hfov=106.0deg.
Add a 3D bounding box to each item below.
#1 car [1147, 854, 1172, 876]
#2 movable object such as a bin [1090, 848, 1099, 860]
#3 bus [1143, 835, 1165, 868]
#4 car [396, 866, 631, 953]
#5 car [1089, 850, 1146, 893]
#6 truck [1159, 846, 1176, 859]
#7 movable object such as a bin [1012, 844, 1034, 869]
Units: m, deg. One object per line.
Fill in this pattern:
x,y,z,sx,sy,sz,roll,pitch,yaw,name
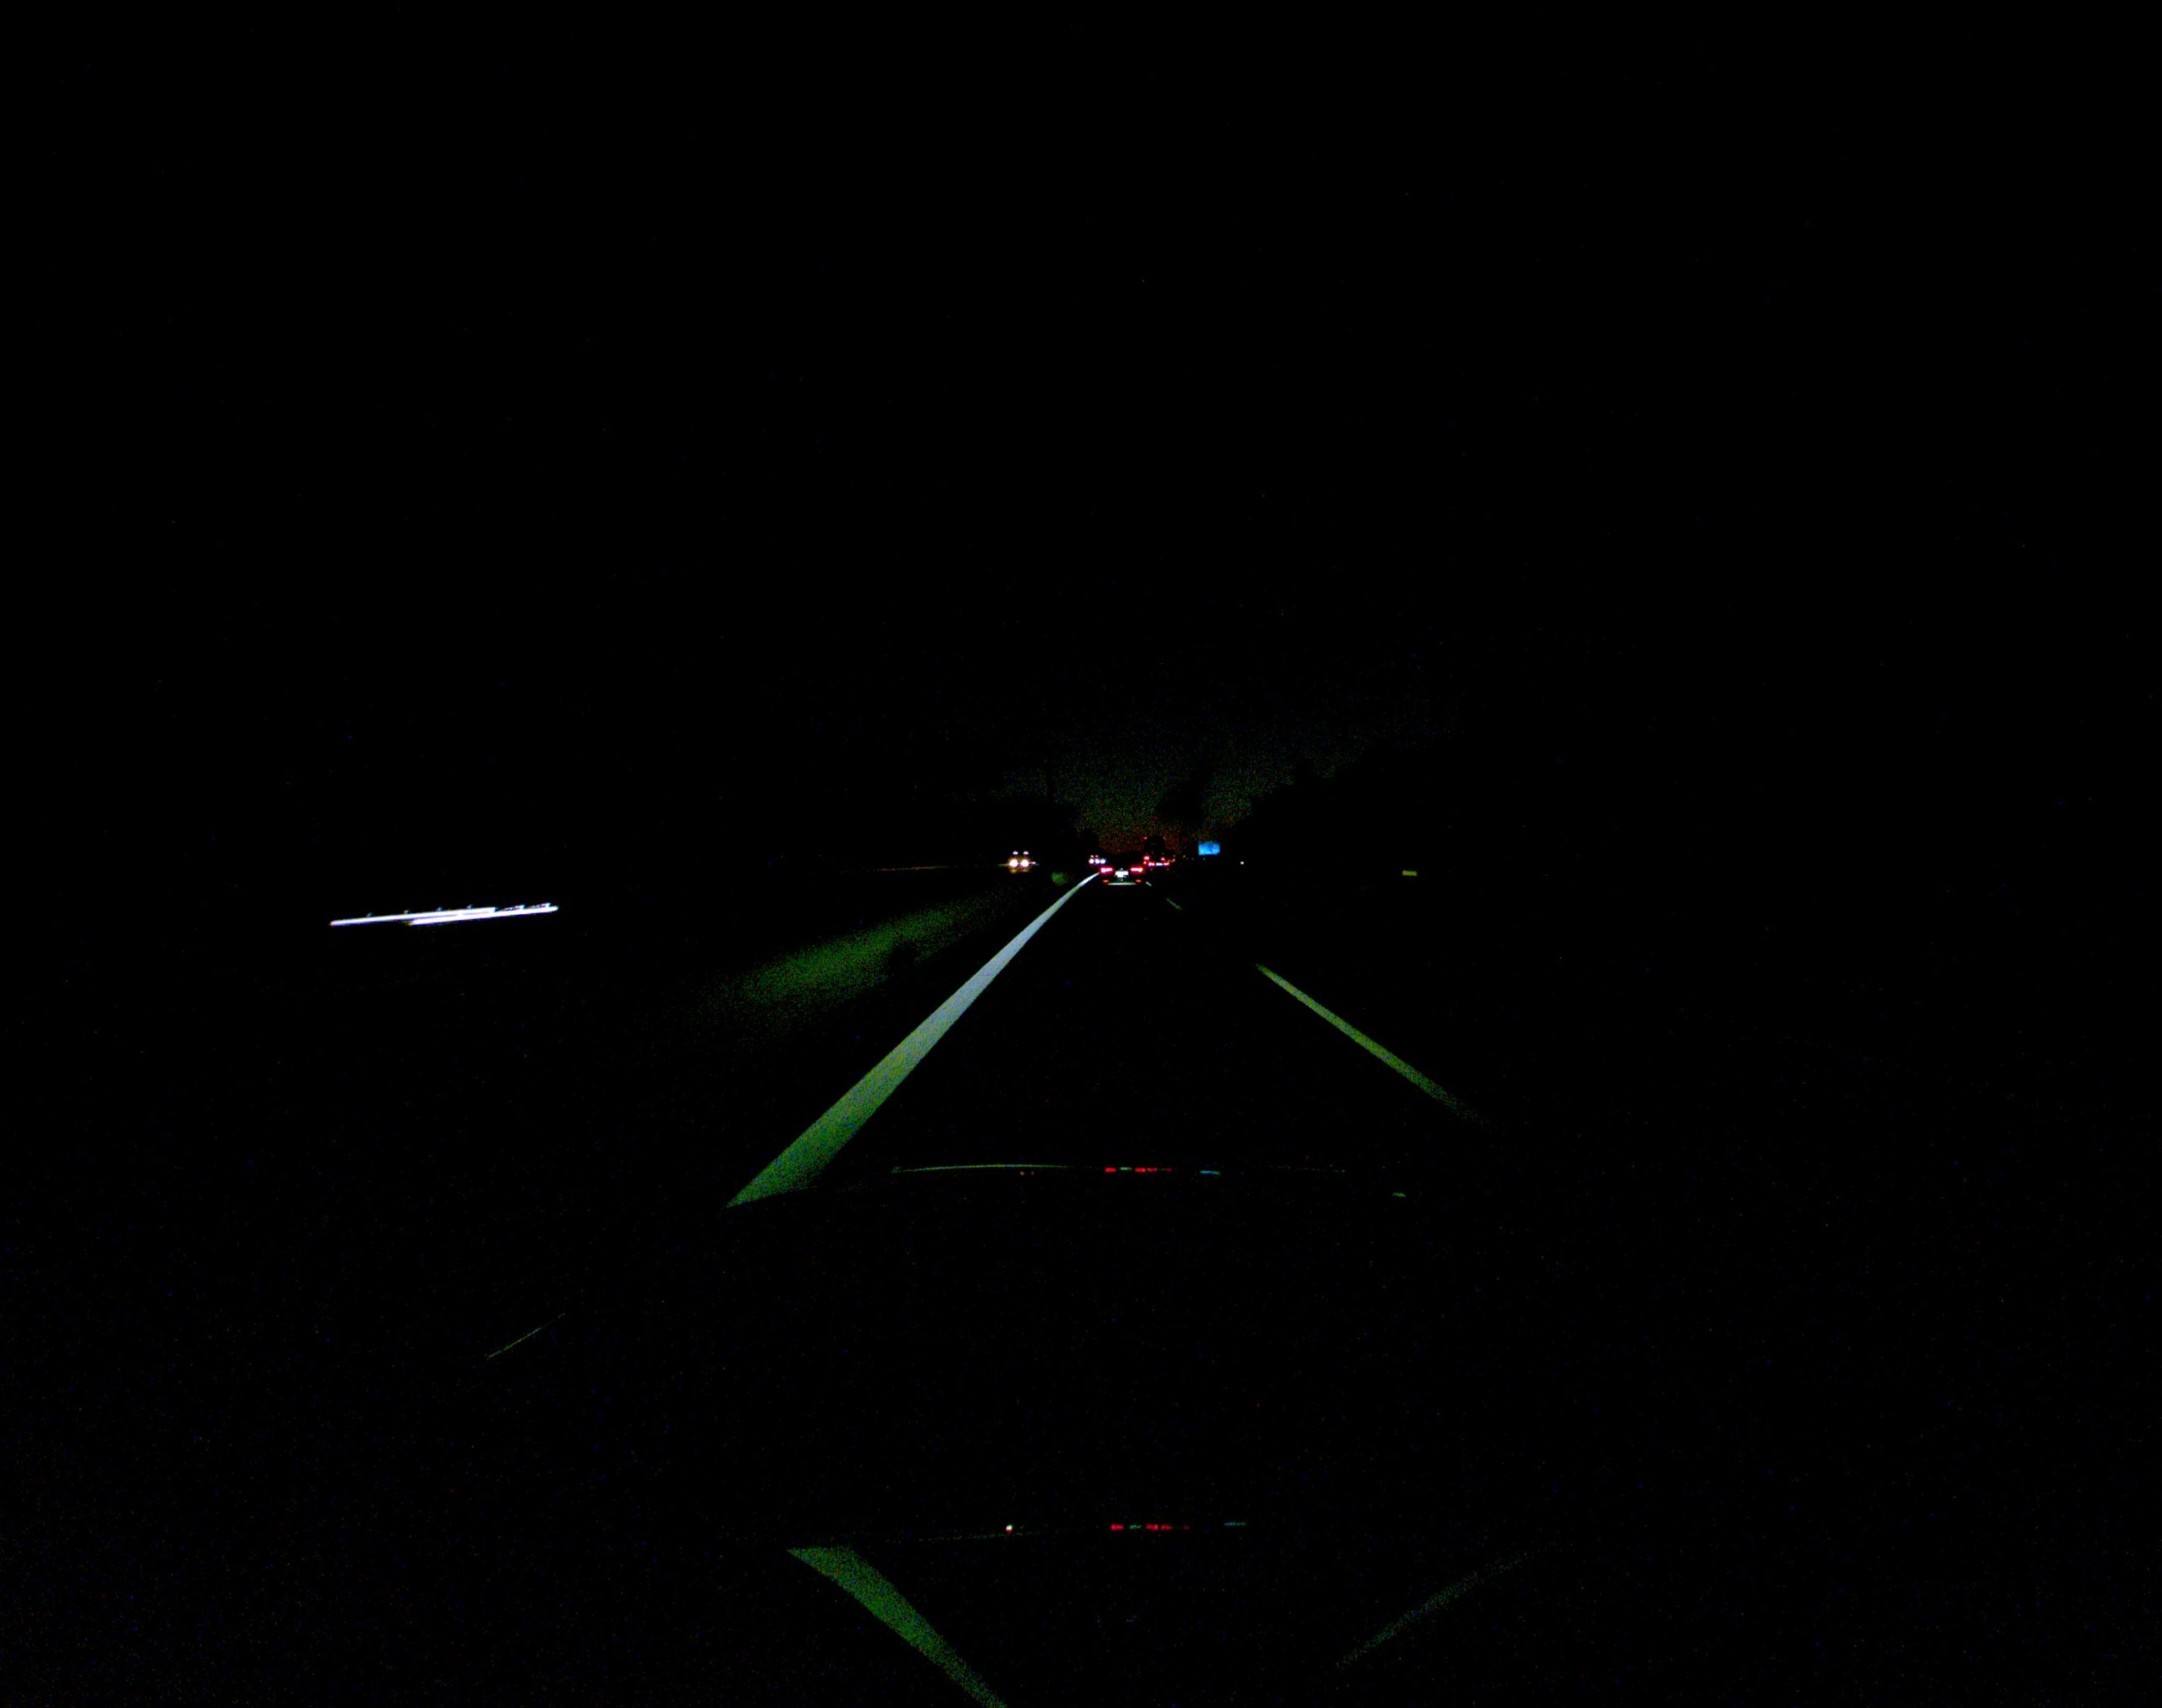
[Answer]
6.657,0.952,69.541,1.903,1.730,4.002,2,-1,3,car
4.415,0.005,258.258,2.282,3.769,7.696,-1,0,5,movable object such as a bin
10.087,-0.256,111.835,2.639,3.994,14.722,-3,-2,5,bus
-11.182,1.008,16.482,1.807,1.453,4.134,-1,0,1,car
1.429,0.680,33.848,2.100,1.618,4.202,0,1,-1,car
20.544,-0.268,194.001,2.540,3.016,9.043,0,0,-3,truck
-8.487,0.359,119.814,2.198,3.417,7.444,-1,0,3,movable object such as a bin
